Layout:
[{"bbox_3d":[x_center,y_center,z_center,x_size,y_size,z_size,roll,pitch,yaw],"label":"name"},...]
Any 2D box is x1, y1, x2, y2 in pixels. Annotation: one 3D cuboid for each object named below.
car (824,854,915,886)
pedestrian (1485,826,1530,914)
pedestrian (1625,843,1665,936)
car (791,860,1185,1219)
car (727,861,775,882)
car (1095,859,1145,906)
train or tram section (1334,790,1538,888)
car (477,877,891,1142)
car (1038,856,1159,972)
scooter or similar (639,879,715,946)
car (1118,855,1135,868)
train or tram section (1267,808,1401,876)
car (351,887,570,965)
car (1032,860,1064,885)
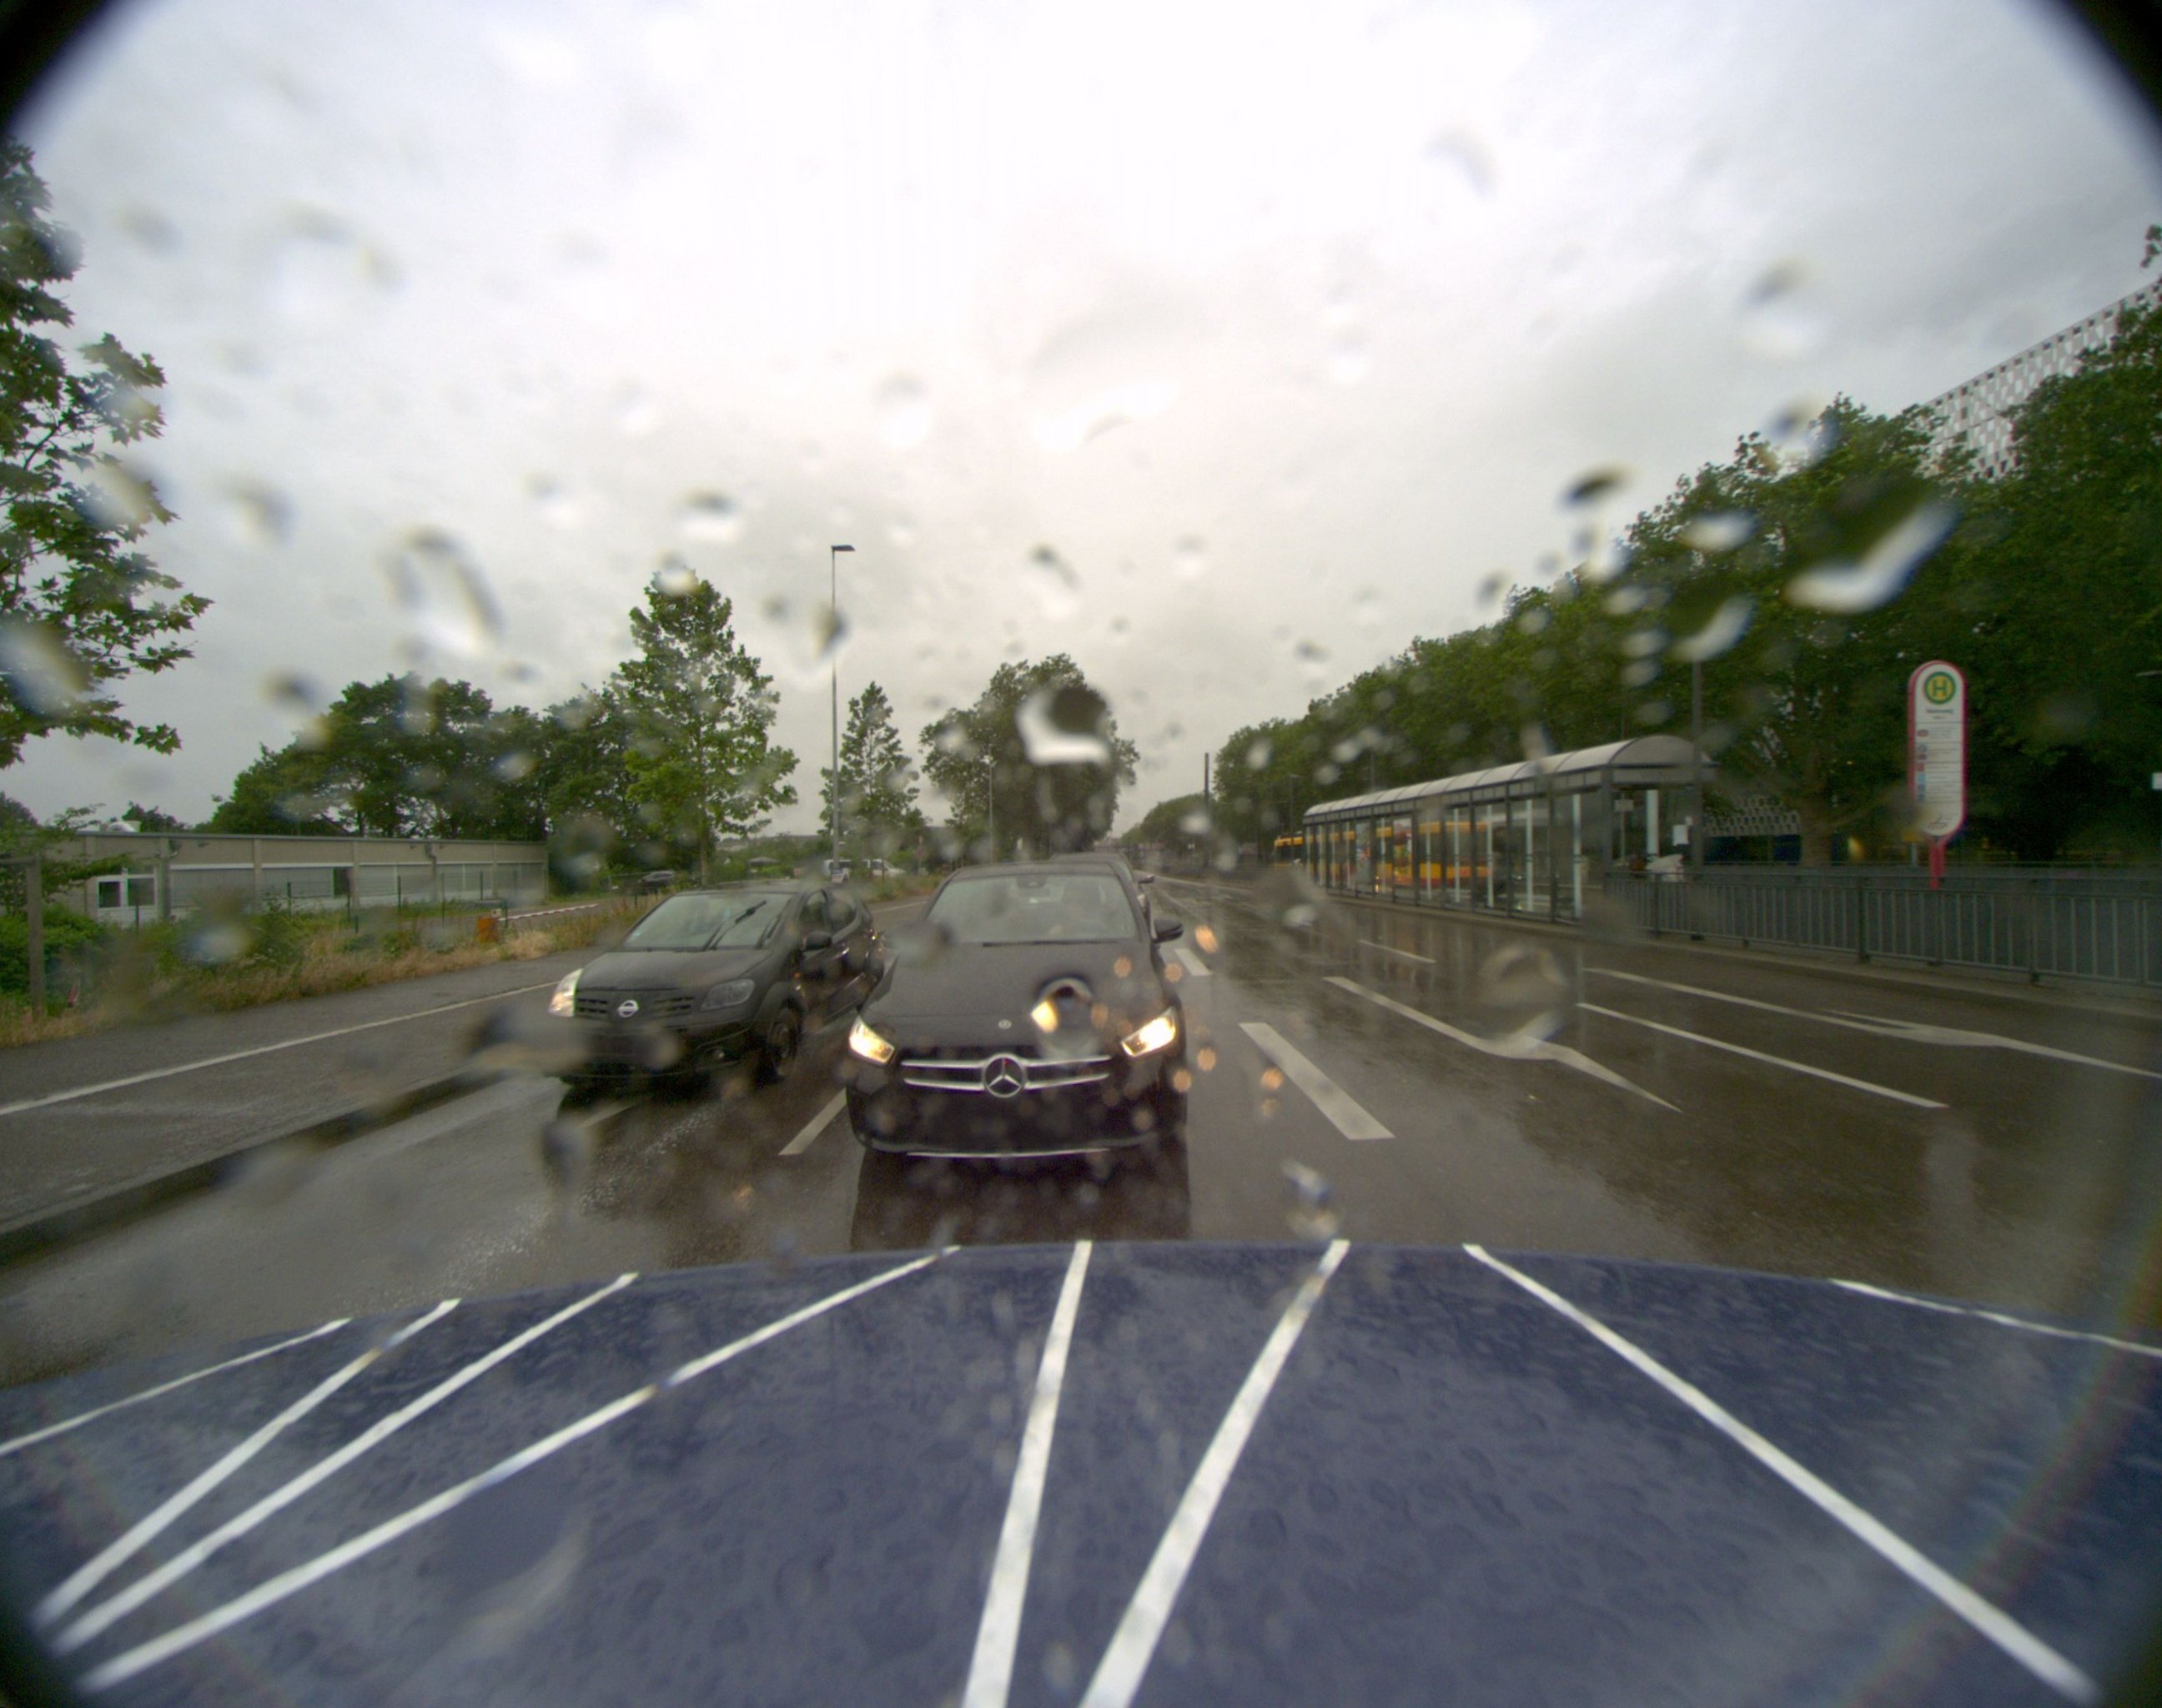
[{"bbox_3d":[-13.340,0.985,48.192,5.174,1.715,2.006,-3,1,-1],"label":"car"},{"bbox_3d":[9.349,0.342,16.680,0.655,1.860,0.773,-2,1,17],"label":"pedestrian"},{"bbox_3d":[9.181,0.569,12.374,0.321,1.485,0.415,-3,2,6],"label":"pedestrian"},{"bbox_3d":[-0.215,0.866,5.510,1.758,1.572,4.171,-2,0,6],"label":"car"},{"bbox_3d":[-28.225,1.480,65.010,3.552,1.574,1.345,-3,1,6],"label":"car"},{"bbox_3d":[1.384,0.983,28.194,1.557,1.541,3.717,-3,0,0],"label":"car"},{"bbox_3d":[16.623,-0.640,37.481,3.751,3.817,13.253,-3,0,0],"label":"train or tram section"},{"bbox_3d":[-2.915,1.023,6.515,1.557,1.500,3.618,-2,0,1],"label":"car"},{"bbox_3d":[0.302,0.848,12.692,1.689,1.611,4.000,-1,0,2],"label":"car"},{"bbox_3d":[-8.183,1.155,15.474,0.367,1.192,1.913,-2,1,4],"label":"scooter or similar"},{"bbox_3d":[4.914,0.797,82.046,1.557,1.301,3.717,-3,0,1],"label":"car"},{"bbox_3d":[16.603,-0.749,51.890,3.751,3.777,15.569,-3,0,0],"label":"train or tram section"},{"bbox_3d":[-12.021,1.376,14.814,3.243,1.281,1.345,-3,1,6],"label":"car"},{"bbox_3d":[-1.912,1.058,45.092,1.617,1.301,3.717,-3,0,1],"label":"car"}]
